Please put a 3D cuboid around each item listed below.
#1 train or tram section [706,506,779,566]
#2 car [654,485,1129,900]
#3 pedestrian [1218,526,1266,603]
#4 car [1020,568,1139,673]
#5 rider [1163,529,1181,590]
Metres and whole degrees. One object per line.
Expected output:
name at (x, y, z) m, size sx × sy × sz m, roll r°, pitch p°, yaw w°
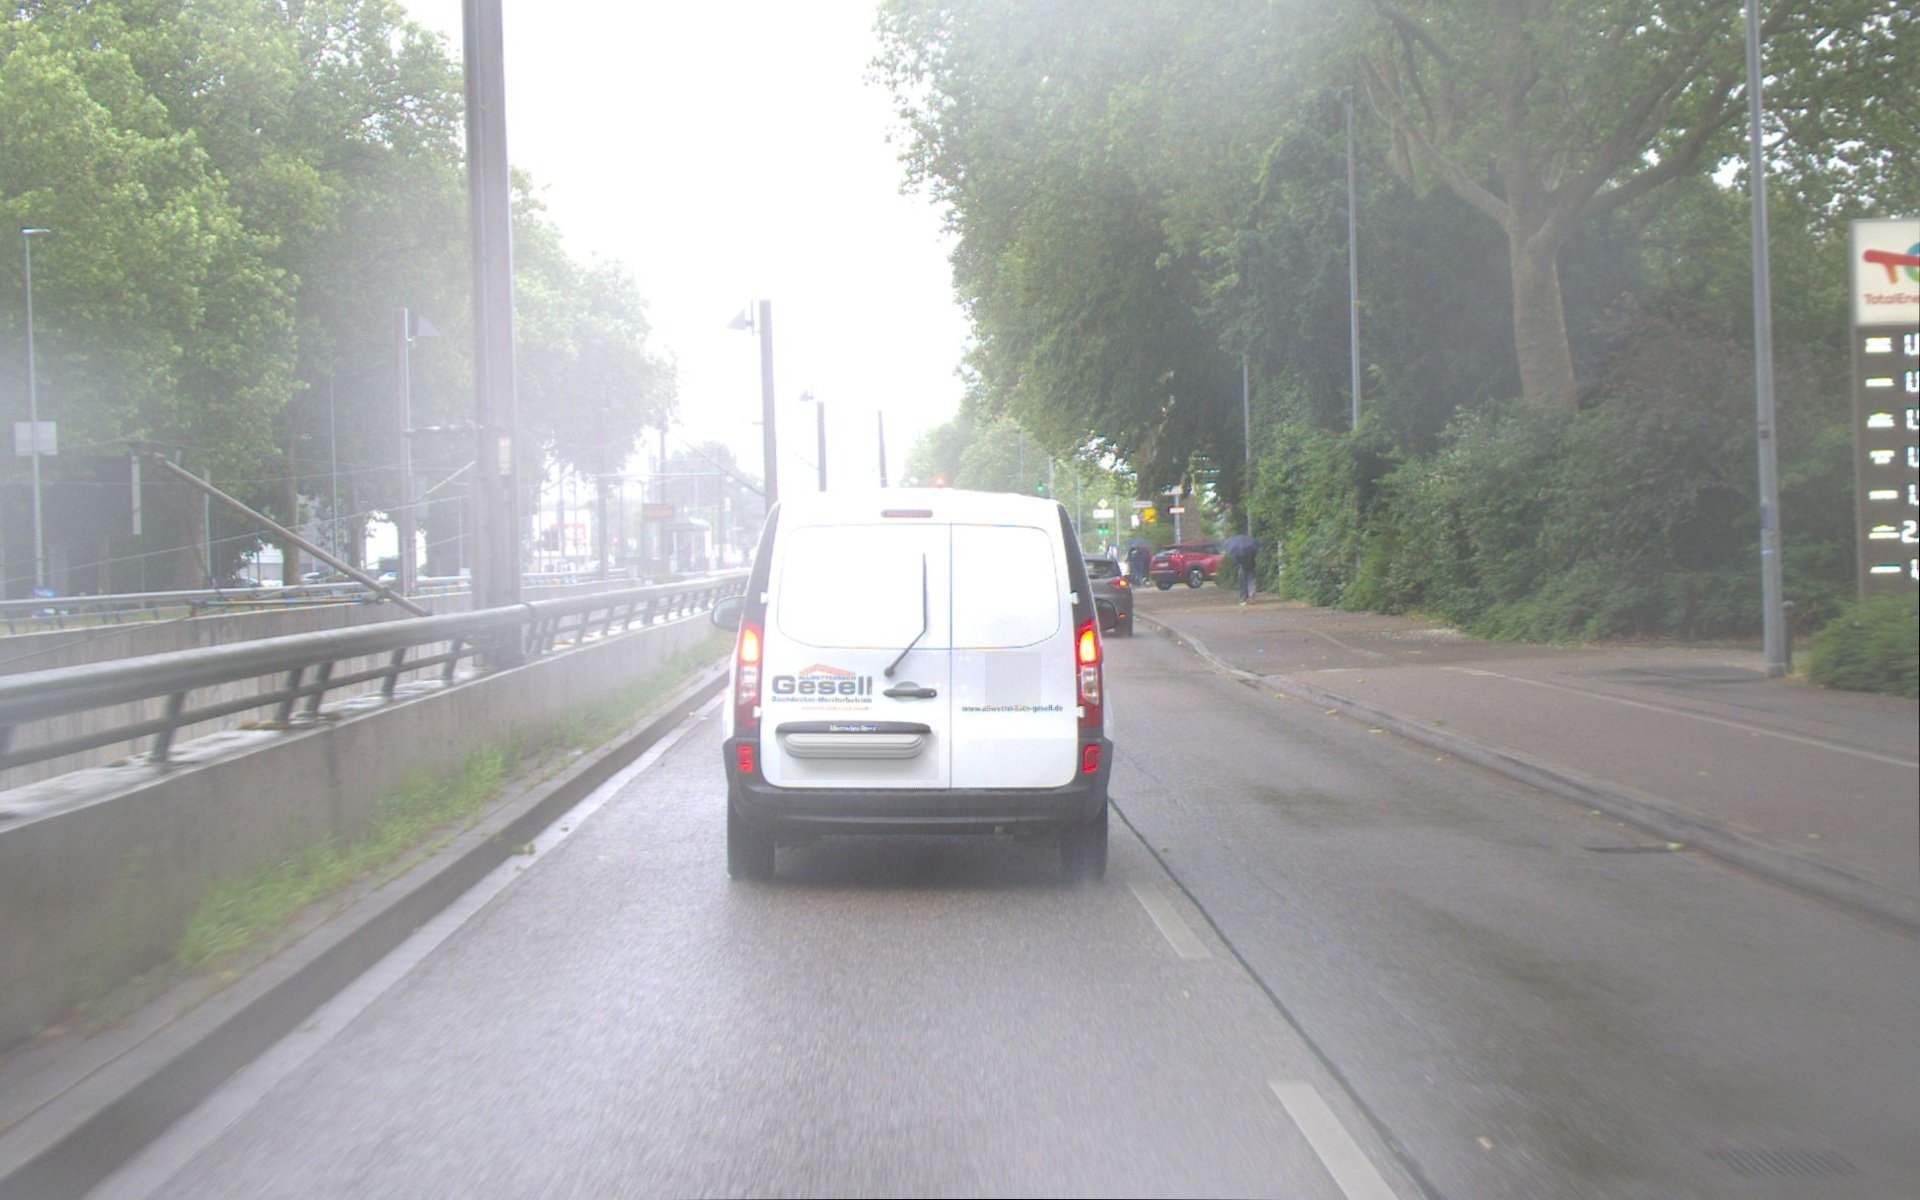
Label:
train or tram section at (-15.425, -4.555, 246.134) m, size 3.770 × 4.022 × 27.095 m, roll 0°, pitch 1°, yaw -1°
car at (-0.338, 0.369, 16.909) m, size 2.025 × 1.769 × 4.274 m, roll 0°, pitch 1°, yaw -1°
pedestrian at (6.338, -0.803, 77.307) m, size 0.967 × 1.696 × 1.141 m, roll 0°, pitch 1°, yaw 0°
car at (2.142, 0.329, 60.517) m, size 1.994 × 1.744 × 4.000 m, roll 1°, pitch 1°, yaw 3°
rider at (6.999, -1.336, 113.398) m, size 0.546 × 2.007 × 0.484 m, roll 0°, pitch 1°, yaw -1°
